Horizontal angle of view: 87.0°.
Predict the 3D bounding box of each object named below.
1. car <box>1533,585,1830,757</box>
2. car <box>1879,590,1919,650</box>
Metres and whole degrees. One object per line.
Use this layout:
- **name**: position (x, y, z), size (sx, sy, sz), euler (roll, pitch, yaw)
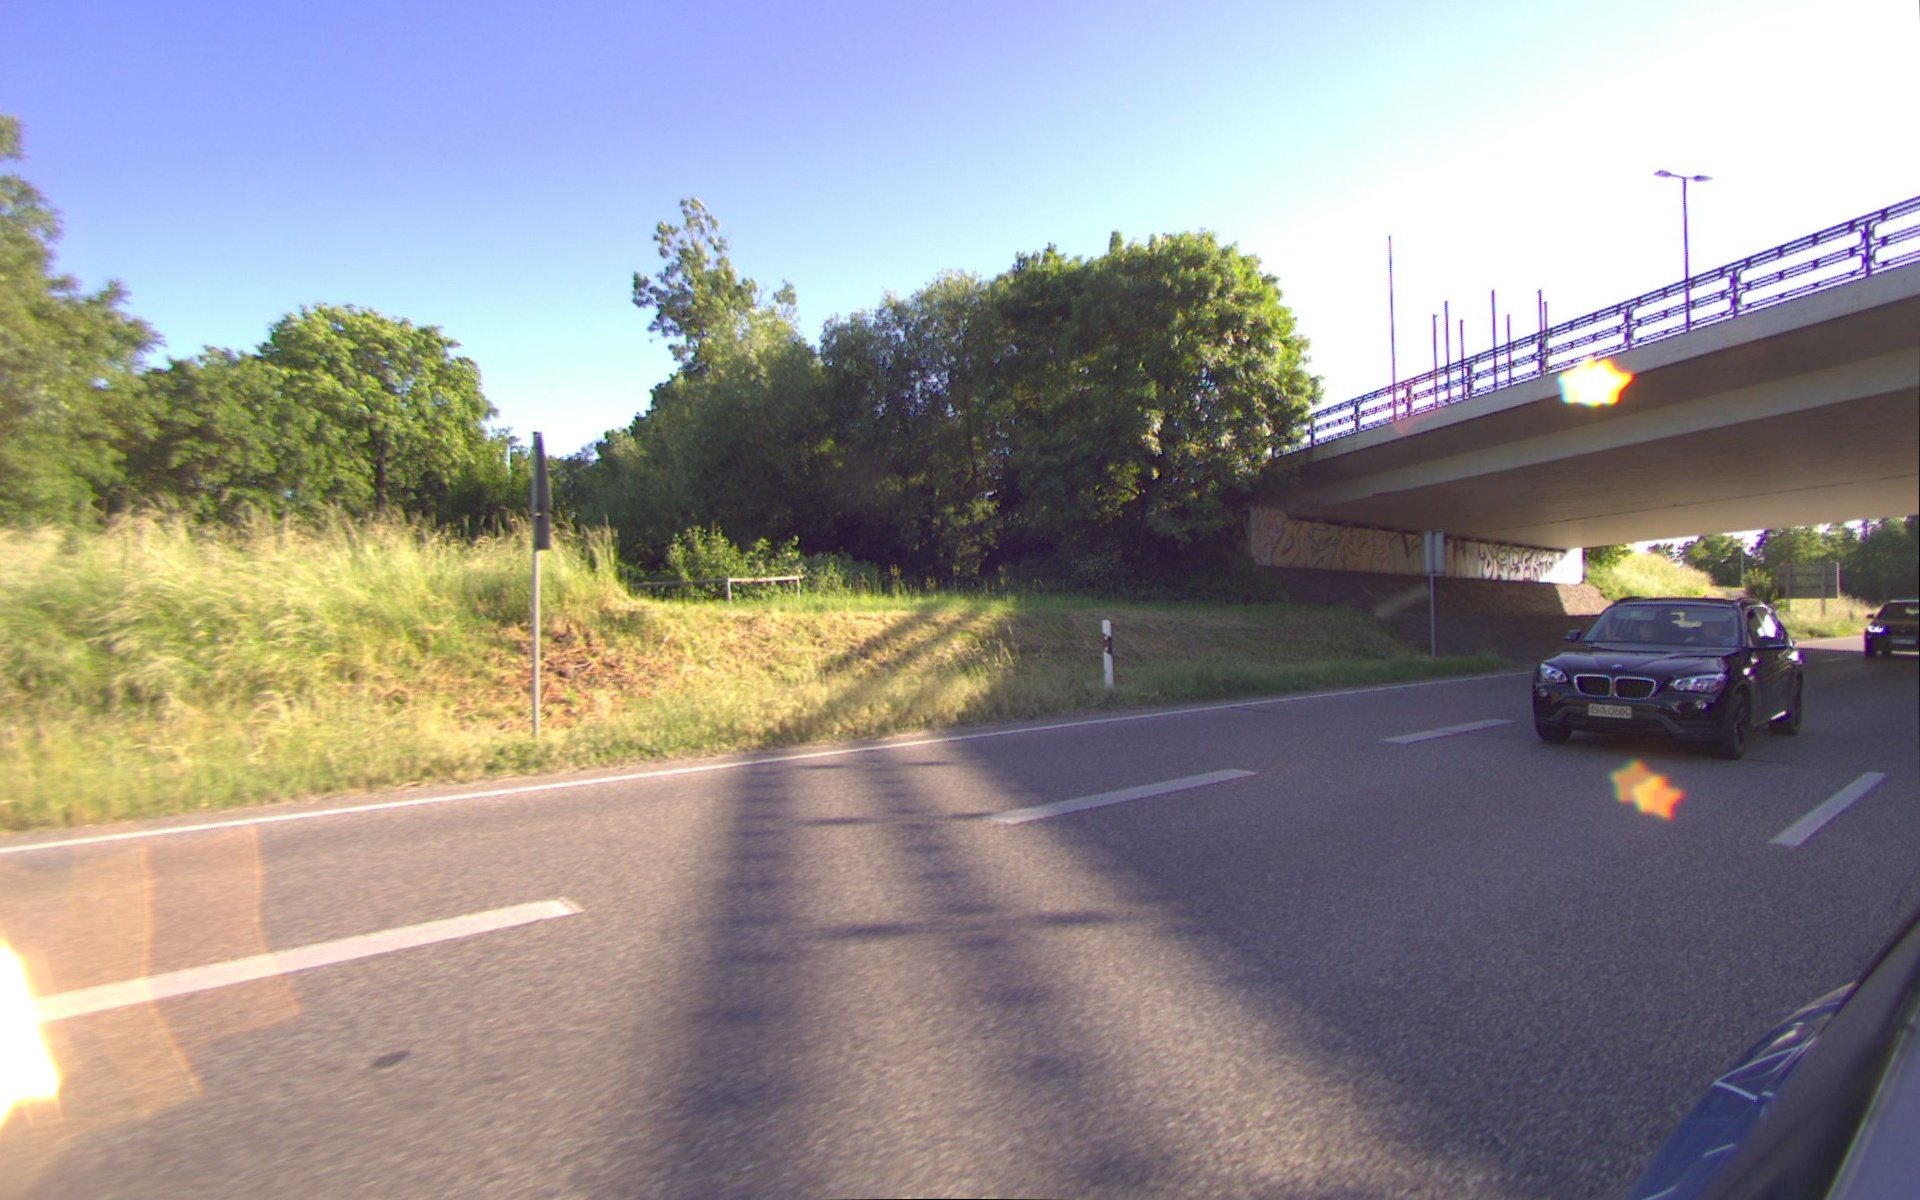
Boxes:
- **car**: position (8.082, 0.603, 11.162), size (4.500, 1.525, 1.701), euler (-1, 1, -41)
- **car**: position (27.869, 0.542, 29.013), size (4.442, 1.592, 1.758), euler (-1, 1, -41)
